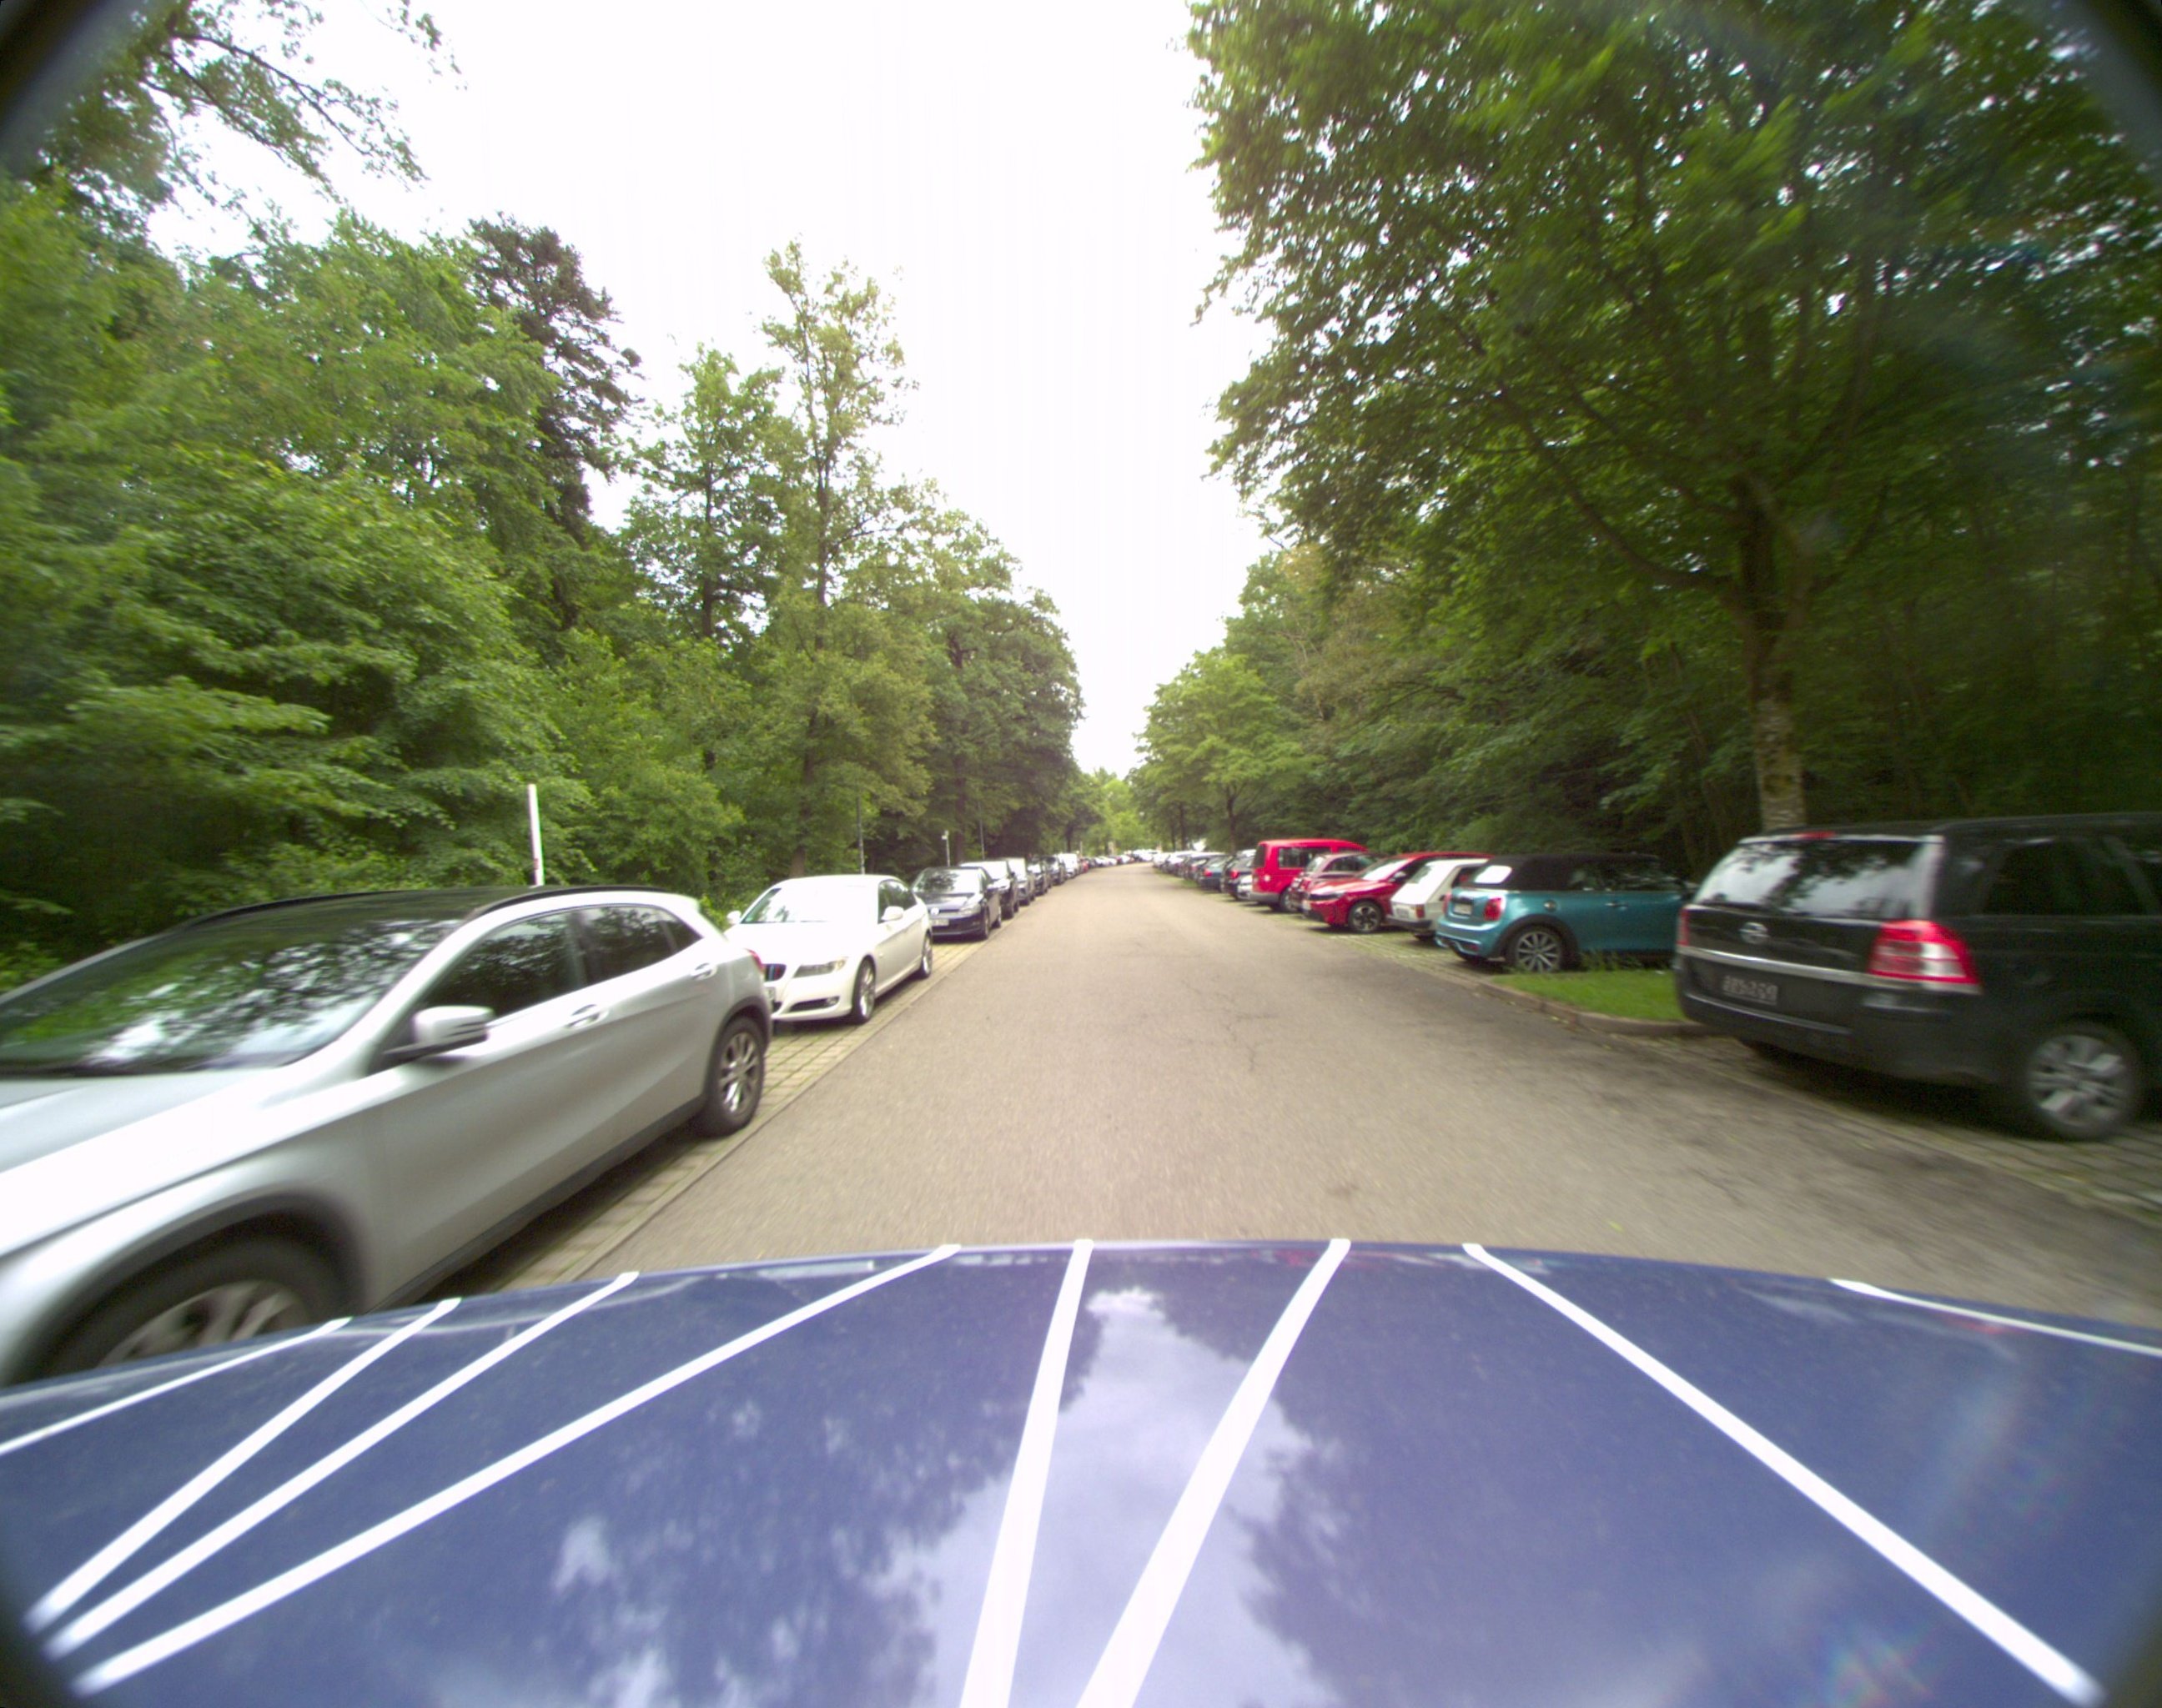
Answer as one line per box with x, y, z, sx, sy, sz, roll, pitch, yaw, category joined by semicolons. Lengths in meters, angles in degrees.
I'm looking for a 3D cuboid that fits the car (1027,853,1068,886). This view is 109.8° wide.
-1.843;0.828;43.377;1.909;1.713;4.486;-2;0;2;car

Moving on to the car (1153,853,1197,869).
9.109;0.689;73.752;3.998;1.469;1.713;-1;0;-2;car

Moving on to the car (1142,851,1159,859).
12.084;0.165;132.585;1.769;1.308;3.896;-2;0;24;car

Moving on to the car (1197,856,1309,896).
6.604;0.824;29.492;3.996;1.413;1.742;-2;0;4;car

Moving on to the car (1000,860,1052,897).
-2.314;1.014;32.690;1.824;1.433;4.000;-2;0;1;car

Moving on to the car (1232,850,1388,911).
6.534;0.735;21.980;3.996;1.588;1.742;-2;0;3;car

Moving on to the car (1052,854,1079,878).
-1.073;0.830;54.014;1.580;1.610;3.962;-2;0;2;car

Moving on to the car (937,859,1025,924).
-2.676;0.958;21.347;1.843;1.551;4.423;-2;0;0;car

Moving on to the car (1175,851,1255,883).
7.336;0.704;41.814;3.998;1.508;1.713;-3;0;-4;car

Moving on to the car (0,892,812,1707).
-2.913;1.051;3.162;1.740;1.471;4.770;-2;0;1;car

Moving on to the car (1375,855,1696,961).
6.995;0.797;12.023;3.996;1.440;1.771;-2;0;1;car

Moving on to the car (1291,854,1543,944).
6.242;0.801;14.460;3.996;1.507;1.771;-2;0;1;car

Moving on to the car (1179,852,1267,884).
7.301;0.716;39.381;4.221;1.528;1.818;-2;0;1;car

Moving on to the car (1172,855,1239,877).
8.050;0.772;49.284;3.998;1.363;1.713;-1;0;-4;car

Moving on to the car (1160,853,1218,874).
8.046;0.690;56.841;3.998;1.480;1.713;-1;0;-2;car

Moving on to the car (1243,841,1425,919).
6.325;0.632;19.312;3.997;1.804;1.818;-2;0;1;car

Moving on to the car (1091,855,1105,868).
2.121;0.954;94.929;1.502;1.470;3.667;-2;0;4;car

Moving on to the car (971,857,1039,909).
-2.578;0.945;26.848;1.907;1.577;4.481;-2;0;0;car

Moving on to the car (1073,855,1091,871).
0.144;0.839;72.598;1.502;1.470;3.666;-2;0;3;car

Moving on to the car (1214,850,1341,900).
6.880;0.720;26.885;3.997;1.588;1.741;-2;0;1;car

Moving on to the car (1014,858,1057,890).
-2.251;0.983;38.871;1.750;1.418;4.189;-2;0;2;car

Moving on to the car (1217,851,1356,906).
6.469;0.761;24.246;3.996;1.588;1.742;-2;0;3;car

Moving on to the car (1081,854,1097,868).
0.886;0.726;83.036;1.502;1.470;3.667;-2;0;4;car

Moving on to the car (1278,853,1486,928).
6.731;0.791;17.323;3.996;1.507;1.818;-2;0;1;car

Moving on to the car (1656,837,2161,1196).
5.978;0.735;4.410;3.997;1.652;1.696;-1;0;0;car

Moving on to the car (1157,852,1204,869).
9.084;0.598;69.553;3.998;1.469;1.713;-1;0;-2;car

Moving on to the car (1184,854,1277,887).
7.172;0.784;36.828;4.220;1.447;1.819;-2;0;5;car

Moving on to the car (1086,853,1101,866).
1.504;0.629;89.669;1.502;1.470;3.667;-2;0;4;car

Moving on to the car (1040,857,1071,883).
-1.637;1.006;49.509;1.705;1.529;3.962;-2;0;2;car

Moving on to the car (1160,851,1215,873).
8.341;0.614;59.504;3.998;1.699;1.713;-1;0;-2;car

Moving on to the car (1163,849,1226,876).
7.708;0.587;51.877;3.998;1.717;1.713;-1;0;-2;car

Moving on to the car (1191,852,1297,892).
6.782;0.724;31.819;3.997;1.433;1.741;-3;0;-1;car

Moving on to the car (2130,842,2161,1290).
5.940;0.746;1.910;3.996;1.652;1.814;-1;0;2;car

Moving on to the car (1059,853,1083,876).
-0.795;0.786;61.522;1.642;1.742;4.054;-2;0;2;car

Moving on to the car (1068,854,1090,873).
-0.142;0.820;67.946;1.642;1.561;3.666;-2;0;3;car

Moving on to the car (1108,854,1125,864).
5.097;0.734;108.361;1.771;1.308;3.893;-2;1;13;car

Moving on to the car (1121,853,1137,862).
7.376;0.537;117.418;1.771;1.308;3.893;-2;1;13;car

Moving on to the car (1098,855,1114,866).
3.300;0.859;99.057;1.501;1.331;3.436;-2;0;12;car

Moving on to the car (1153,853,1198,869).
8.917;0.656;71.834;3.998;1.469;1.713;-1;0;-2;car

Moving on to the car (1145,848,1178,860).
10.374;0.019;97.951;3.992;1.412;1.784;-2;1;18;car

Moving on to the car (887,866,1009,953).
-2.655;1.053;16.245;1.741;1.426;4.745;-2;0;0;car

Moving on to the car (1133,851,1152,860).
10.386;0.259;127.825;1.769;1.308;3.896;-2;0;25;car

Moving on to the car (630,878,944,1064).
-2.921;1.077;8.734;1.740;1.398;4.428;-2;0;1;car

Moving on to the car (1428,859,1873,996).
6.561;0.817;9.133;3.996;1.440;1.696;-1;0;4;car

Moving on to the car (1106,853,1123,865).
4.538;0.650;103.150;1.501;1.470;3.669;-2;1;13;car
